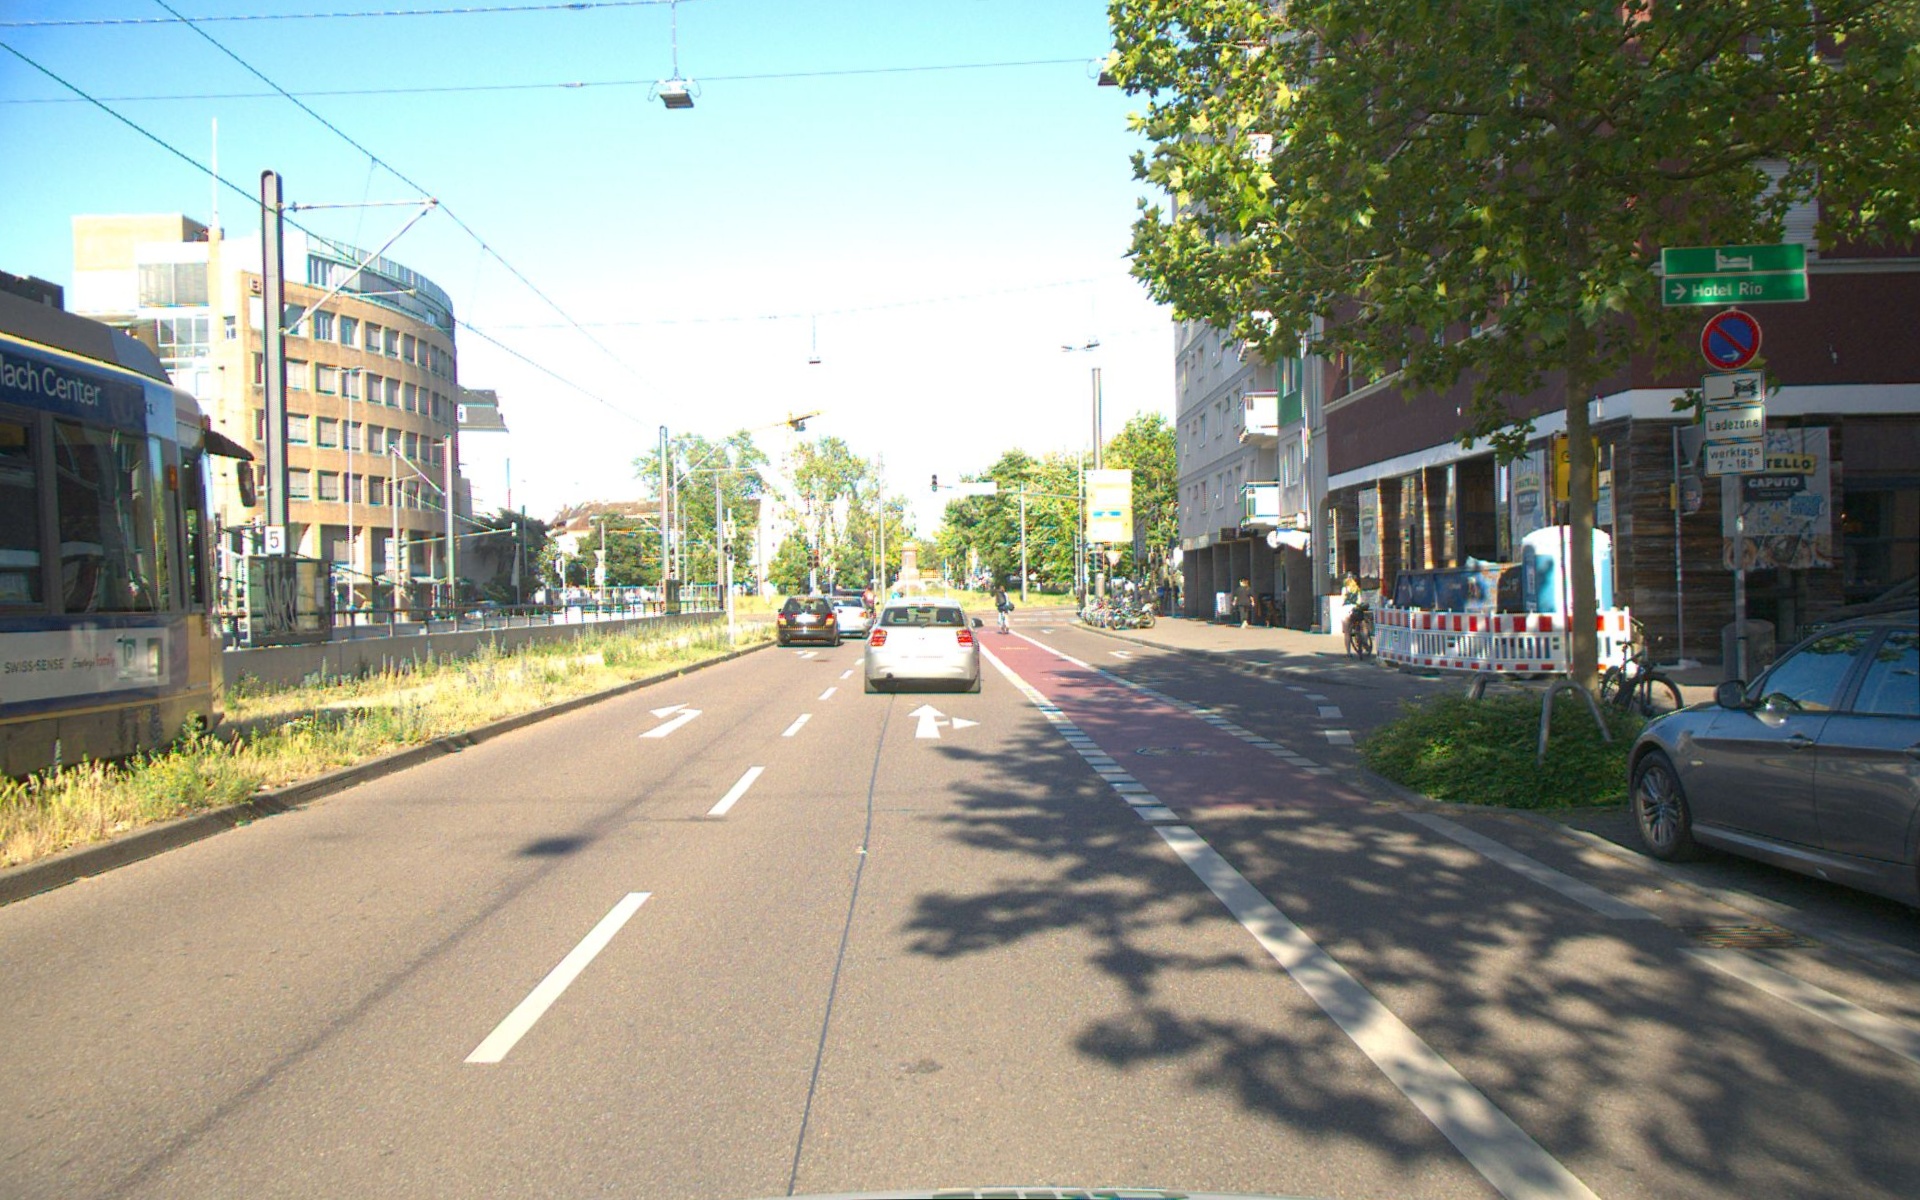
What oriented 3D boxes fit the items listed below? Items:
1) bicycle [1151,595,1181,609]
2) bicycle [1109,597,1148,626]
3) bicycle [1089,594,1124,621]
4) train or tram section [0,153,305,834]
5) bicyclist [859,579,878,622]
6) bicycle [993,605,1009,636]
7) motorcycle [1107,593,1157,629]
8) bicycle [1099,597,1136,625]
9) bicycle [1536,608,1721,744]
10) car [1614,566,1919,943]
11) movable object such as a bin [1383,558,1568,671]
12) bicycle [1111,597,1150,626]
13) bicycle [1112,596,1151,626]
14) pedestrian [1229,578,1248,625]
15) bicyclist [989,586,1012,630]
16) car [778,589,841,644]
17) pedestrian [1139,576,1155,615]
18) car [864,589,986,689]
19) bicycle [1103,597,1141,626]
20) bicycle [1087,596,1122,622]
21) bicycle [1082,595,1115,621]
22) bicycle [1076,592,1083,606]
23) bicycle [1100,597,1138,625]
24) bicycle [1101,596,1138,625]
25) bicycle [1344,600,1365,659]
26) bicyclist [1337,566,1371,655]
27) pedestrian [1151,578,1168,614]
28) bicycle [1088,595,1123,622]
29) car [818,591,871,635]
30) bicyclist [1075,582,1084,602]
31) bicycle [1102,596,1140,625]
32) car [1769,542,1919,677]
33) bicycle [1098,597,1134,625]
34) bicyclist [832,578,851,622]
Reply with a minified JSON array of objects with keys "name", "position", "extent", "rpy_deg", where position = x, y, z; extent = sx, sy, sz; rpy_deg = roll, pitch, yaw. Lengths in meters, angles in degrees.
[{"name":"bicycle","position":[16.272,0.148,130.804],"extent":[2.270,1.087,0.556],"rpy_deg":[0,0,22]},{"name":"bicycle","position":[6.538,0.437,64.127],"extent":[1.435,1.086,0.257],"rpy_deg":[-2,0,1]},{"name":"bicycle","position":[6.217,0.324,70.207],"extent":[1.435,1.086,0.257],"rpy_deg":[-2,0,1]},{"name":"train or tram section","position":[-7.022,-0.628,8.902],"extent":[2.893,3.965,10.799],"rpy_deg":[1,0,-1]},{"name":"bicyclist","position":[-3.433,0.021,61.853],"extent":[0.606,1.599,0.684],"rpy_deg":[0,0,-13]},{"name":"bicycle","position":[1.496,0.748,60.412],"extent":[0.489,1.107,1.996],"rpy_deg":[1,0,-1]},{"name":"motorcycle","position":[6.396,0.417,61.533],"extent":[1.816,1.323,0.652],"rpy_deg":[0,0,2]},{"name":"bicycle","position":[6.368,0.441,66.869],"extent":[1.435,1.086,0.257],"rpy_deg":[-2,0,1]},{"name":"bicycle","position":[6.308,0.681,15.750],"extent":[0.569,1.183,2.233],"rpy_deg":[1,0,-8]},{"name":"car","position":[4.890,0.642,7.848],"extent":[1.753,1.582,4.434],"rpy_deg":[0,0,-1]},{"name":"movable object such as a bin","position":[9.165,0.207,29.682],"extent":[1.908,1.875,3.475],"rpy_deg":[-1,1,-7]},{"name":"bicycle","position":[6.521,0.436,63.377],"extent":[1.435,1.086,0.257],"rpy_deg":[-2,0,1]},{"name":"bicycle","position":[6.521,0.429,63.006],"extent":[1.435,1.086,0.257],"rpy_deg":[-2,0,1]},{"name":"pedestrian","position":[9.659,0.059,57.423],"extent":[0.561,1.610,0.556],"rpy_deg":[0,0,-1]},{"name":"bicyclist","position":[1.484,0.293,60.461],"extent":[0.769,1.558,0.894],"rpy_deg":[1,0,-1]},{"name":"car","position":[-4.314,0.458,47.913],"extent":[1.692,1.496,4.407],"rpy_deg":[-1,0,-4]},{"name":"pedestrian","position":[9.815,-0.231,86.750],"extent":[0.774,2.049,0.870],"rpy_deg":[1,0,6]},{"name":"car","position":[-0.565,0.550,25.966],"extent":[1.761,1.439,3.999],"rpy_deg":[0,0,-2]},{"name":"bicycle","position":[6.314,0.458,64.623],"extent":[1.435,1.086,0.257],"rpy_deg":[-2,0,1]},{"name":"bicycle","position":[6.204,0.381,70.854],"extent":[1.435,1.086,0.257],"rpy_deg":[-2,0,1]},{"name":"bicycle","position":[6.148,0.350,73.427],"extent":[1.435,1.086,0.257],"rpy_deg":[-2,0,1]},{"name":"bicycle","position":[8.491,-0.073,117.297],"extent":[0.344,0.975,1.573],"rpy_deg":[1,0,0]},{"name":"bicycle","position":[6.357,0.446,66.169],"extent":[1.435,1.086,0.257],"rpy_deg":[-2,0,1]},{"name":"bicycle","position":[6.347,0.421,65.824],"extent":[1.435,1.086,0.257],"rpy_deg":[-2,0,1]},{"name":"bicycle","position":[7.809,0.571,32.741],"extent":[0.311,1.104,1.686],"rpy_deg":[-1,0,11]},{"name":"bicyclist","position":[7.779,0.206,32.673],"extent":[0.588,1.719,0.598],"rpy_deg":[-1,0,9]},{"name":"pedestrian","position":[10.616,-0.223,88.105],"extent":[0.808,1.888,0.917],"rpy_deg":[1,0,13]},{"name":"bicycle","position":[6.221,0.376,70.529],"extent":[1.435,1.086,0.257],"rpy_deg":[-2,0,1]},{"name":"car","position":[-3.892,0.431,56.134],"extent":[1.611,1.446,3.999],"rpy_deg":[0,0,-1]},{"name":"bicyclist","position":[8.475,-0.538,117.251],"extent":[0.604,1.404,0.686],"rpy_deg":[1,0,0]},{"name":"bicycle","position":[6.366,0.427,65.452],"extent":[1.435,1.086,0.257],"rpy_deg":[-2,0,1]},{"name":"car","position":[14.082,0.138,23.477],"extent":[4.212,1.819,1.994],"rpy_deg":[0,-1,-2]},{"name":"bicycle","position":[6.337,0.431,67.214],"extent":[1.435,1.086,0.257],"rpy_deg":[-2,0,1]},{"name":"bicyclist","position":[-4.412,-0.006,61.607],"extent":[0.604,1.599,0.686],"rpy_deg":[1,0,0]}]
